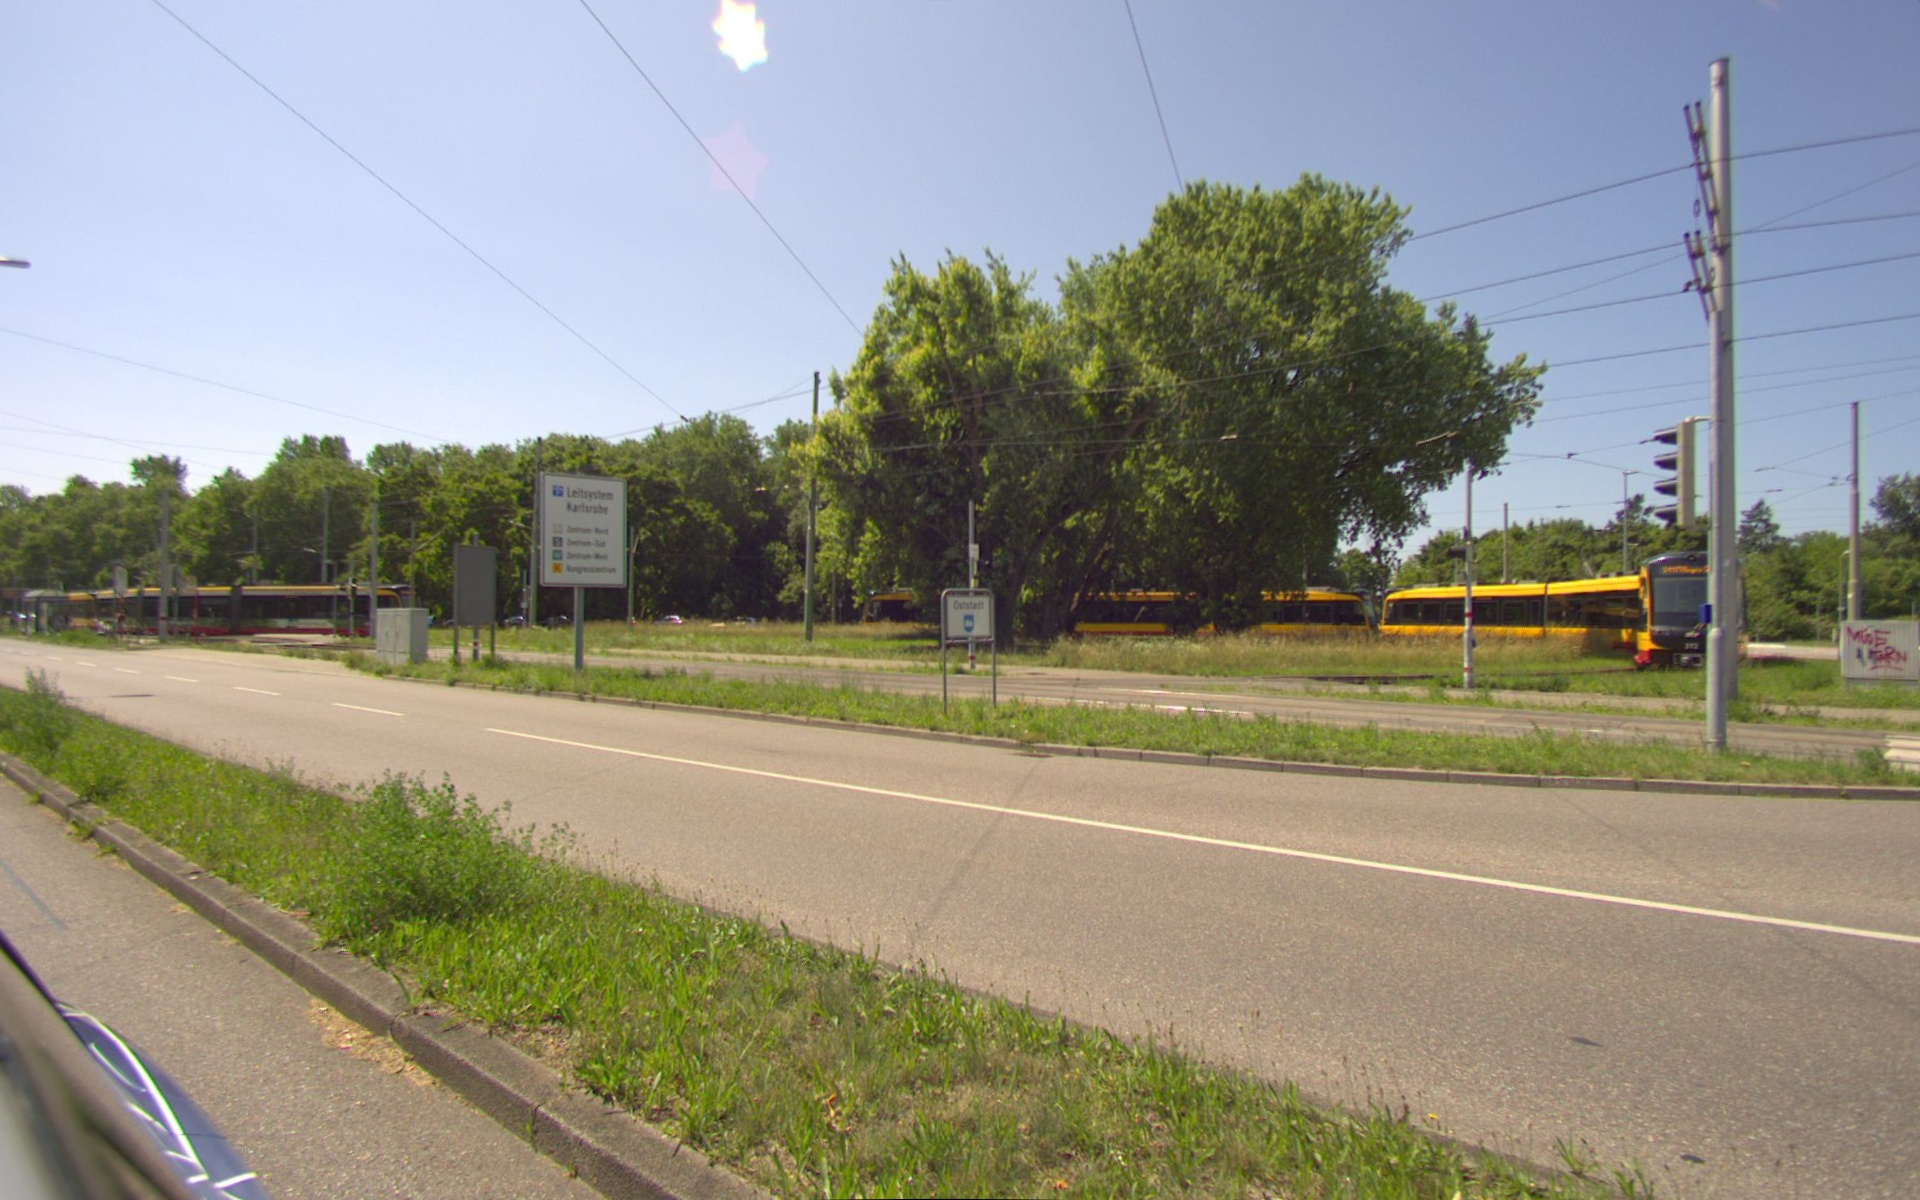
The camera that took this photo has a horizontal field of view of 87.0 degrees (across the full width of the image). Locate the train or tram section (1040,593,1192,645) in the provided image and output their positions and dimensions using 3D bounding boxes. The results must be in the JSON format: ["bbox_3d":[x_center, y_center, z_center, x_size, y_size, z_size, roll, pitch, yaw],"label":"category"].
[{"bbox_3d":[10.896,1.341,71.088,10.159,3.492,3.023,-1,0,24],"label":"train or tram section"}]

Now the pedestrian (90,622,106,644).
[{"bbox_3d":[-46.883,1.781,55.067,0.536,1.198,0.575,-1,0,39],"label":"pedestrian"}]

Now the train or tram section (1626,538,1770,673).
[{"bbox_3d":[23.661,0.103,32.136,3.042,3.492,13.121,-1,0,38],"label":"train or tram section"}]

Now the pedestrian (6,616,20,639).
[{"bbox_3d":[-72.912,2.121,77.924,0.775,1.804,0.626,-1,0,38],"label":"pedestrian"}]

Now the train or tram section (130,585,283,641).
[{"bbox_3d":[-52.472,0.939,70.358,12.380,3.652,3.028,-1,0,25],"label":"train or tram section"}]

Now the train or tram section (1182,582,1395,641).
[{"bbox_3d":[20.972,0.777,65.362,12.718,3.492,3.011,-1,0,35],"label":"train or tram section"}]

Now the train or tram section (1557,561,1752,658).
[{"bbox_3d":[28.295,0.350,41.989,3.016,3.492,10.182,-1,0,13],"label":"train or tram section"}]

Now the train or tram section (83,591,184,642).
[{"bbox_3d":[-63.120,1.272,77.094,13.879,3.652,3.014,-1,0,38],"label":"train or tram section"}]

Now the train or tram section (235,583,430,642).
[{"bbox_3d":[-41.355,0.834,66.714,12.326,3.652,3.041,-1,0,13],"label":"train or tram section"}]

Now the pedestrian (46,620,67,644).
[{"bbox_3d":[-57.815,2.042,64.758,0.878,1.519,0.826,-1,0,38],"label":"pedestrian"}]

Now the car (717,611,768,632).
[{"bbox_3d":[-19.035,1.894,88.698,3.972,1.741,1.986,-1,0,22],"label":"car"}]

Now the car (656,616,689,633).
[{"bbox_3d":[-28.192,2.423,99.182,3.056,1.608,1.376,-1,0,27],"label":"car"}]

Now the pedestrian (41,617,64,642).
[{"bbox_3d":[-58.634,1.922,65.383,0.984,1.558,0.922,-1,0,38],"label":"pedestrian"}]

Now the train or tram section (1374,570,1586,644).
[{"bbox_3d":[27.358,0.347,54.489,2.997,3.492,12.777,-1,0,-10],"label":"train or tram section"}]

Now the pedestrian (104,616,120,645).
[{"bbox_3d":[-45.702,1.638,54.556,0.582,1.577,0.529,-1,0,39],"label":"pedestrian"}]

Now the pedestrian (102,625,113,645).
[{"bbox_3d":[-46.145,1.878,54.781,0.377,1.066,0.379,-1,0,38],"label":"pedestrian"}]

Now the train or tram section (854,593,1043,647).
[{"bbox_3d":[-0.846,1.383,71.995,13.077,3.492,3.047,-1,0,-1],"label":"train or tram section"}]

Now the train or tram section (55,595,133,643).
[{"bbox_3d":[-73.568,1.579,85.864,13.253,3.795,3.012,-1,0,41],"label":"train or tram section"}]
